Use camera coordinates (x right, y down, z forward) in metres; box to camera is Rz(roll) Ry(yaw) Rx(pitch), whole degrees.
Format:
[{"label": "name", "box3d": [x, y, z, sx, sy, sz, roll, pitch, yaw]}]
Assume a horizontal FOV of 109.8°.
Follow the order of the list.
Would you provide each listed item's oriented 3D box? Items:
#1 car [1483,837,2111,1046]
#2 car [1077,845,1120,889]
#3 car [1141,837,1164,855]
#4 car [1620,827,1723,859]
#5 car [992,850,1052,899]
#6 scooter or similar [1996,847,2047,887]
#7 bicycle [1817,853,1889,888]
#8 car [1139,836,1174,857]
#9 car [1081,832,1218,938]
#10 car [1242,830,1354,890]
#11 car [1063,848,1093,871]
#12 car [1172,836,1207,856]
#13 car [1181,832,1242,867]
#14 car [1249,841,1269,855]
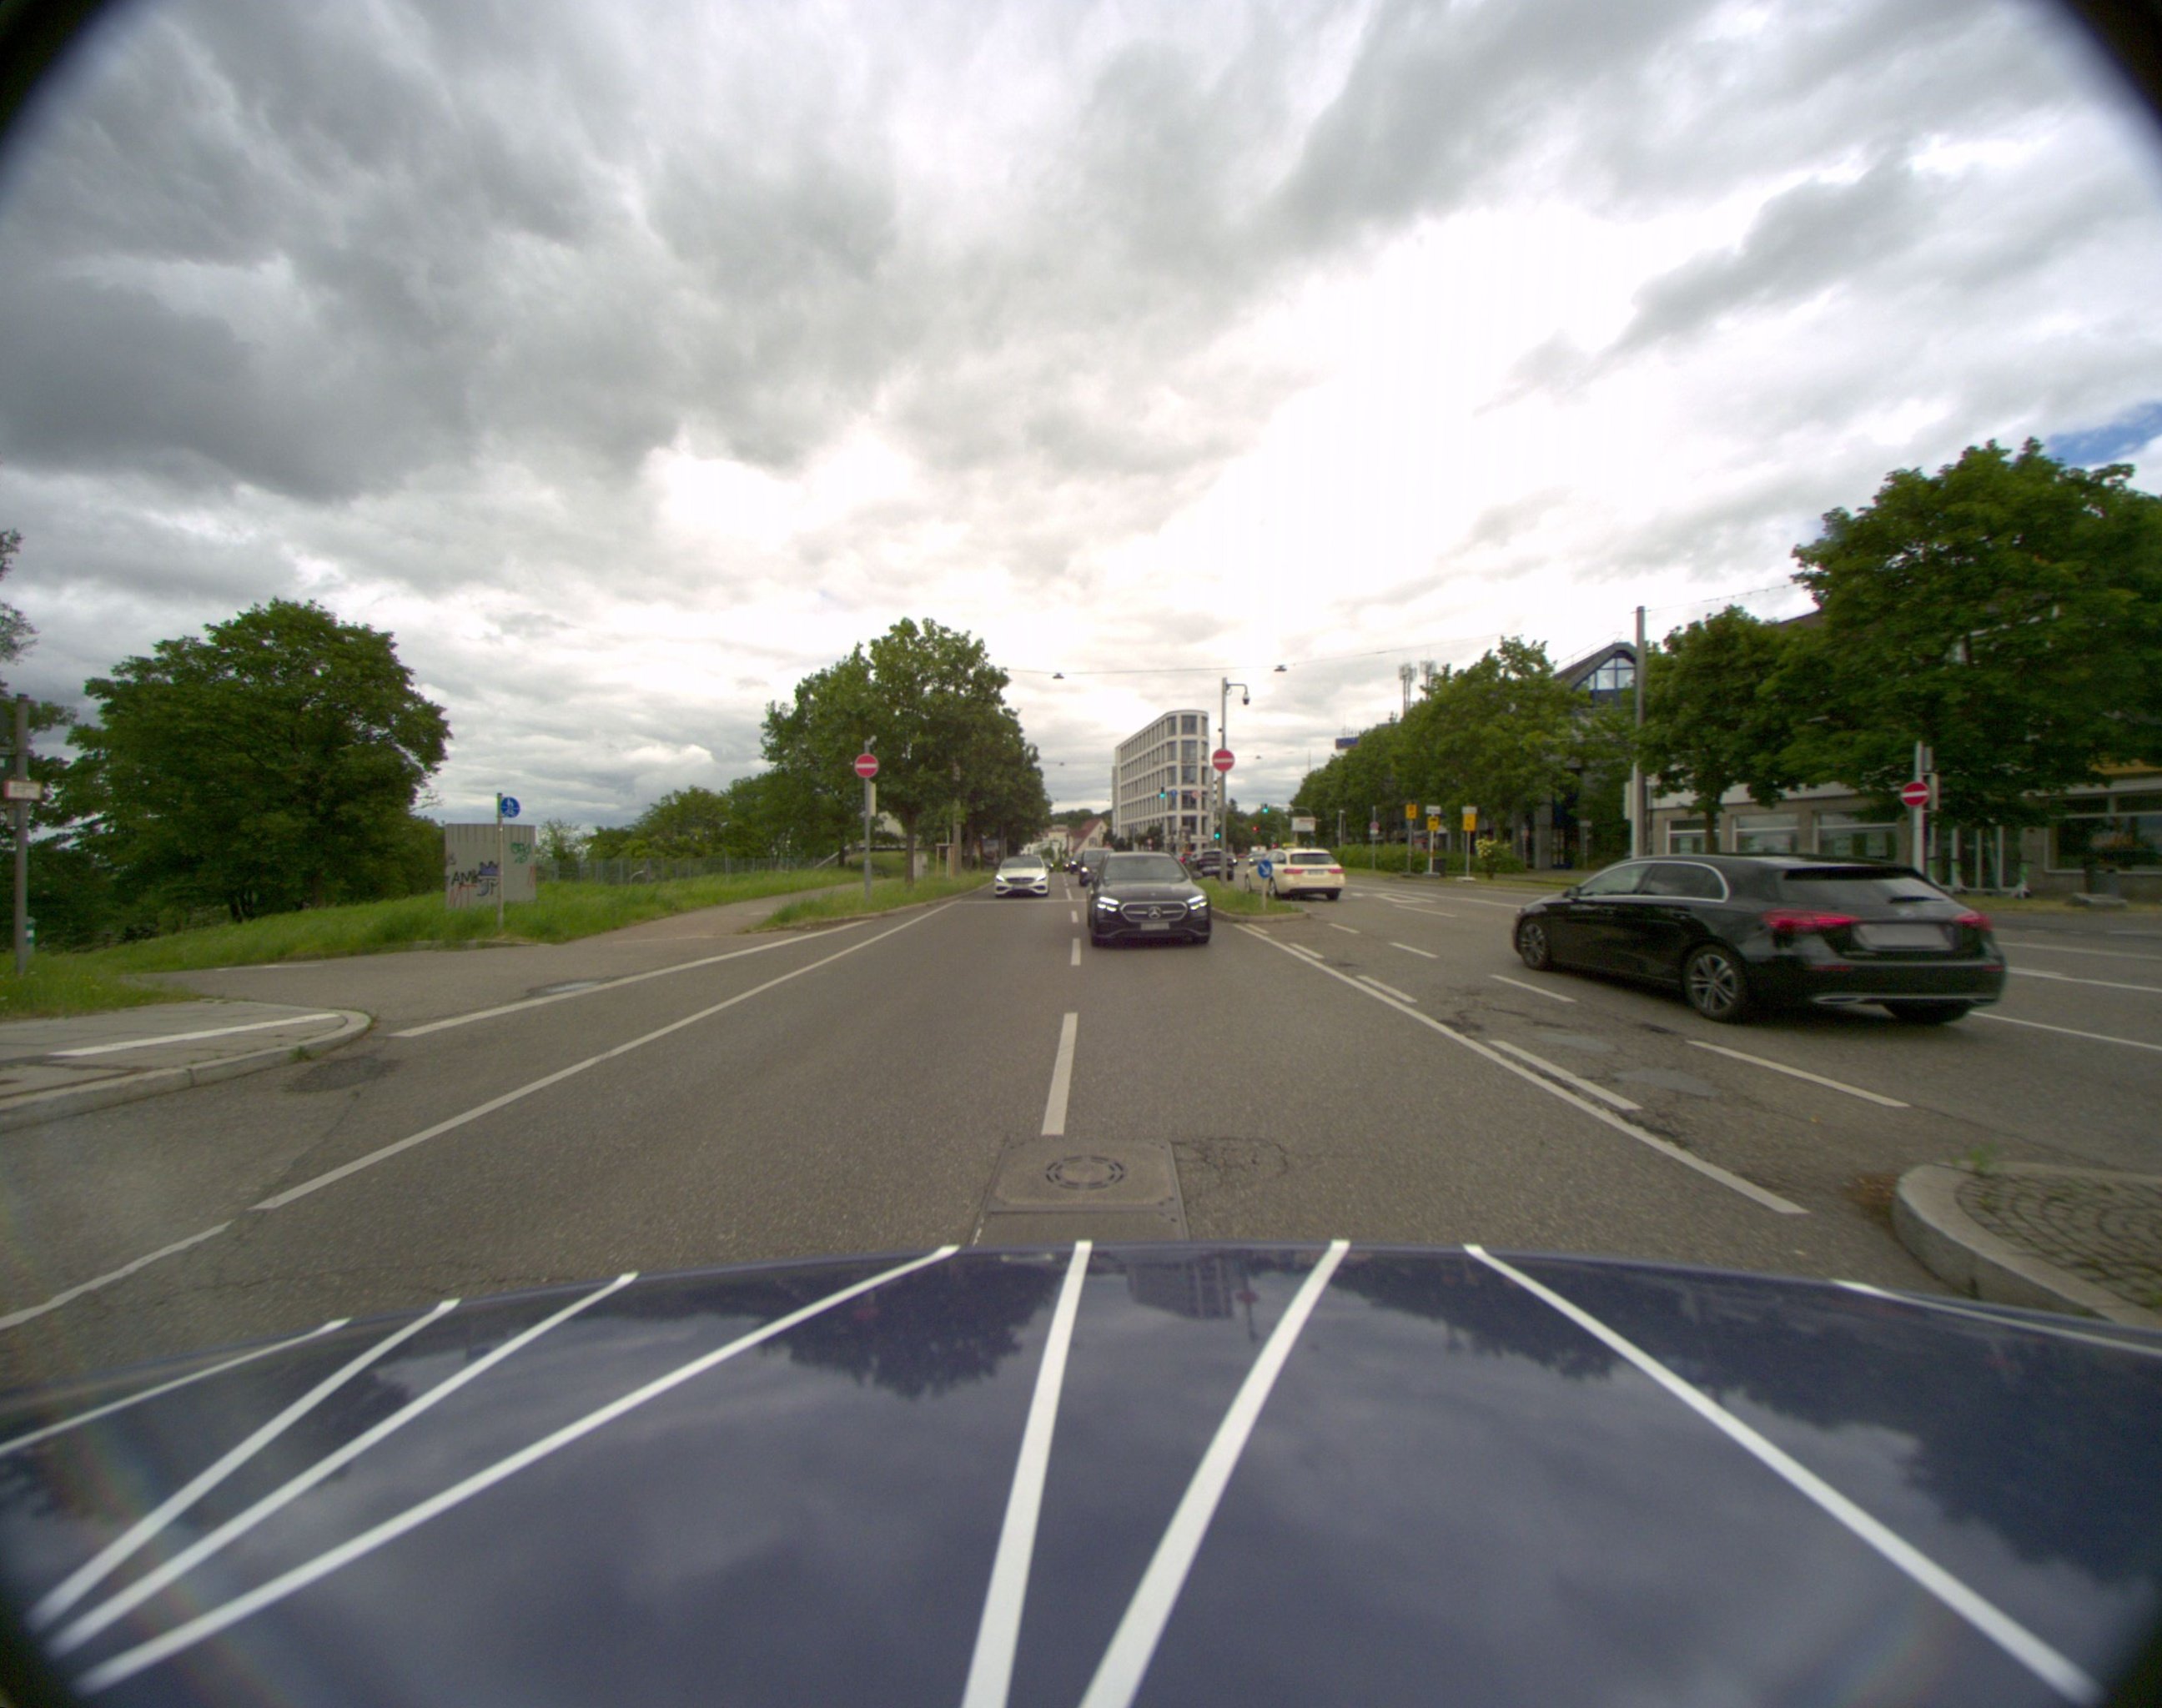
[{"label": "car", "box3d": [6.223, 0.564, 7.680, 1.998, 1.451, 4.773, 0, 1, 3]}, {"label": "car", "box3d": [0.747, 0.510, 33.591, 1.735, 1.681, 4.367, -1, 2, 1]}, {"label": "car", "box3d": [7.661, -0.897, 82.063, 1.954, 1.896, 4.541, 0, 1, -2]}, {"label": "car", "box3d": [30.224, -0.582, 38.950, 4.000, 1.587, 1.998, -1, 1, -9]}, {"label": "car", "box3d": [-2.009, 0.655, 27.061, 1.873, 1.497, 4.771, 0, 1, -2]}, {"label": "scooter or similar", "box3d": [24.251, 0.315, 19.595, 1.451, 0.975, 0.625, -1, 2, -32]}, {"label": "bicycle", "box3d": [23.148, 0.482, 22.776, 2.058, 0.982, 0.625, 0, 2, -17]}, {"label": "car", "box3d": [5.486, -0.573, 55.439, 1.954, 1.463, 4.541, 0, 1, -2]}, {"label": "car", "box3d": [1.016, 0.409, 13.535, 1.873, 1.543, 4.771, 0, 1, -2]}, {"label": "car", "box3d": [6.265, 0.105, 22.550, 1.916, 1.585, 4.814, 0, 1, 0]}, {"label": "car", "box3d": [-0.183, 0.383, 53.872, 1.734, 1.474, 4.369, -1, 1, 4]}, {"label": "car", "box3d": [8.474, -0.659, 59.688, 1.954, 1.463, 4.541, 0, 1, -2]}, {"label": "car", "box3d": [6.211, -0.260, 36.678, 1.954, 1.585, 4.771, 0, 1, -2]}, {"label": "car", "box3d": [19.967, -0.678, 85.329, 1.952, 1.463, 4.545, 0, 1, 10]}]
